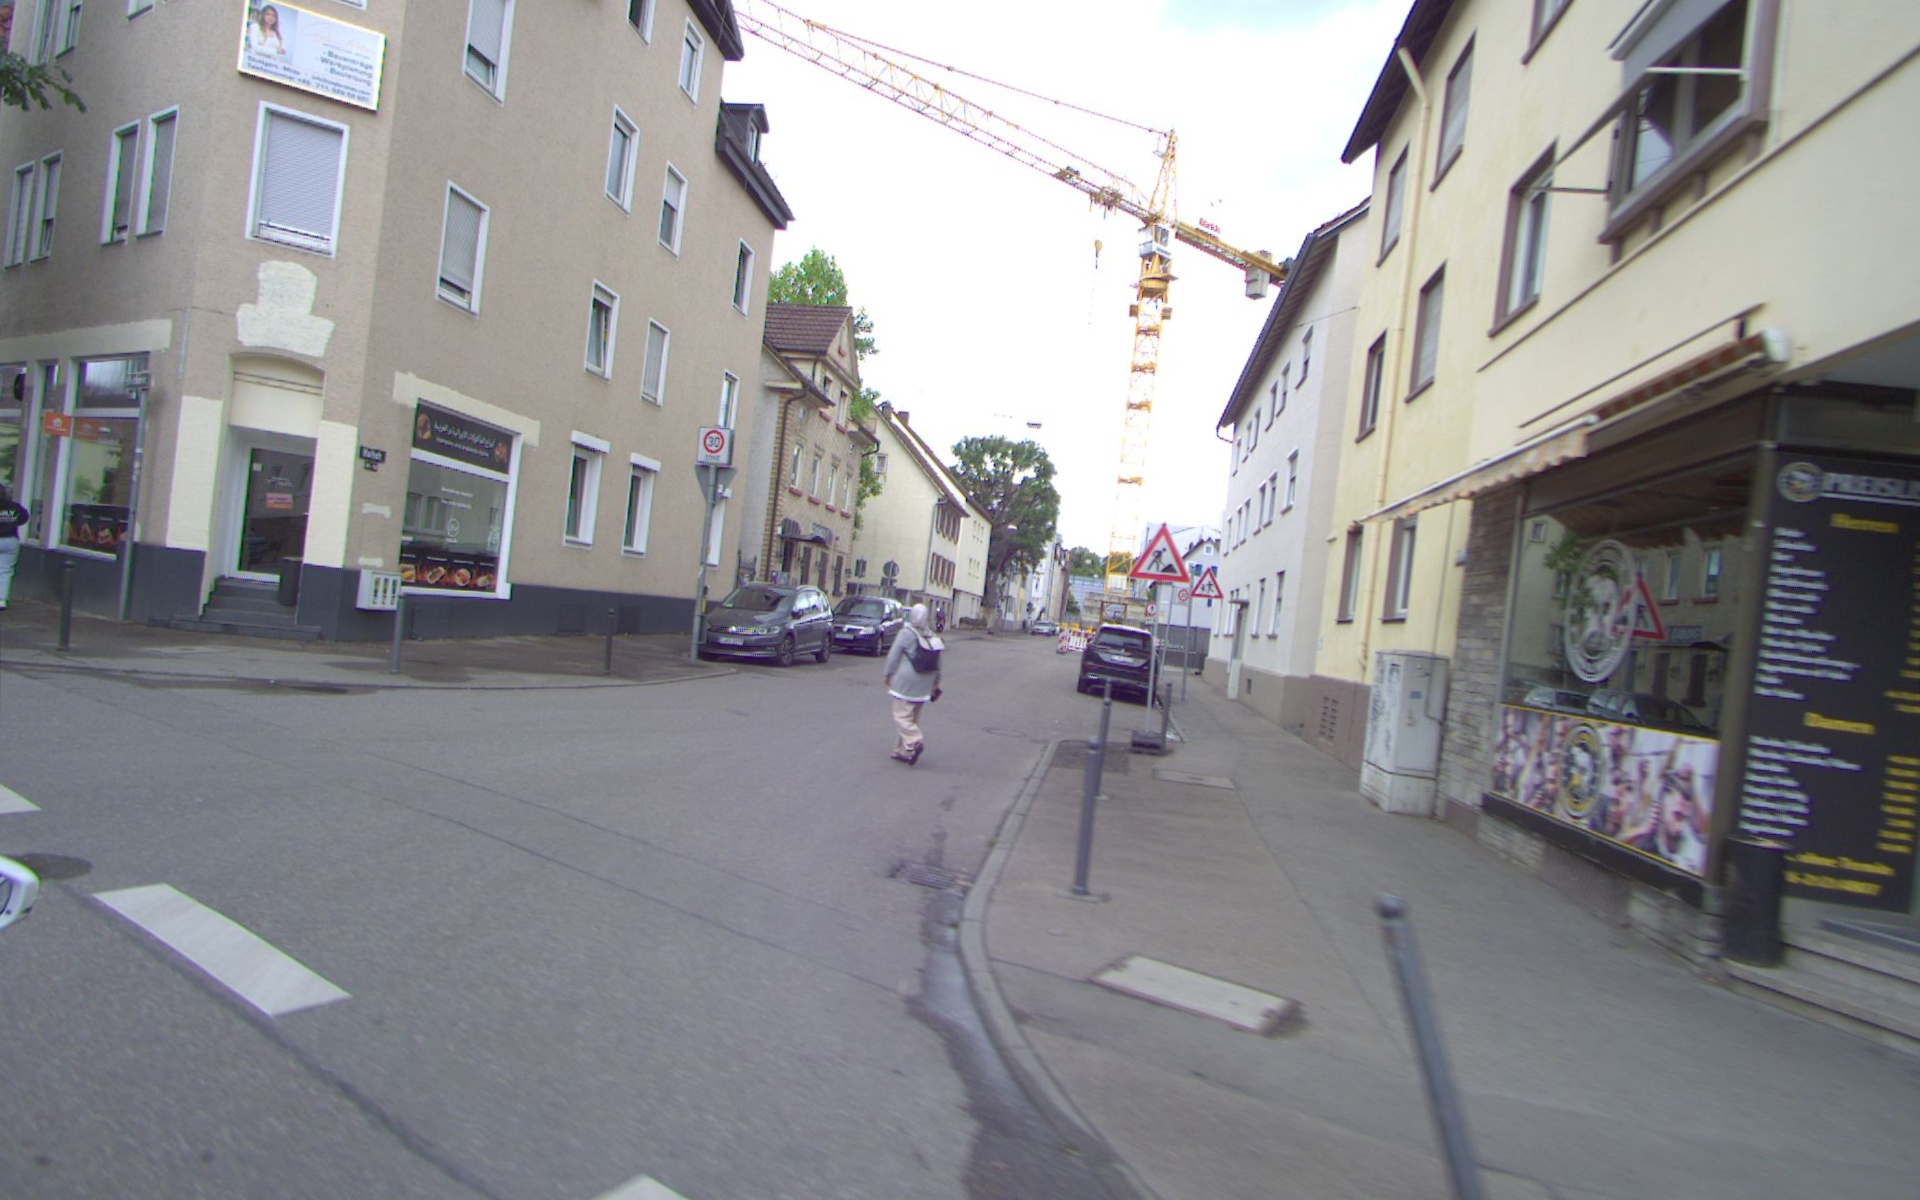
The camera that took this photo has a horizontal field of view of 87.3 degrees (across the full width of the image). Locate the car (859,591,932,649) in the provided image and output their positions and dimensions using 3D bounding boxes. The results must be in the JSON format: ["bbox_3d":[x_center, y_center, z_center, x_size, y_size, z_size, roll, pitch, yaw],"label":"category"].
[{"bbox_3d":[-2.126,0.735,34.223,1.653,1.640,4.239,6,-2,6],"label":"car"}]

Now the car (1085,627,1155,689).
[{"bbox_3d":[4.731,1.710,29.721,1.741,1.530,3.735,6,-2,10],"label":"car"}]

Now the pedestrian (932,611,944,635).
[{"bbox_3d":[-1.227,1.297,56.205,0.442,1.294,0.349,6,0,13],"label":"pedestrian"}]

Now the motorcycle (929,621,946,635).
[{"bbox_3d":[-1.253,1.577,56.324,0.484,0.735,1.664,6,-1,12],"label":"motorcycle"}]

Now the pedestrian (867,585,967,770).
[{"bbox_3d":[-0.437,0.745,9.910,0.786,1.685,0.675,6,0,-5],"label":"pedestrian"}]

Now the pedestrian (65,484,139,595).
[{"bbox_3d":[-12.951,-0.914,15.184,0.547,1.579,0.568,6,-1,31],"label":"pedestrian"}]

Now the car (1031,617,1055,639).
[{"bbox_3d":[8.146,2.758,98.484,1.962,1.859,4.006,6,-2,8],"label":"car"}]

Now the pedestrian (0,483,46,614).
[{"bbox_3d":[-12.847,-0.719,13.393,0.966,1.673,0.615,7,0,30],"label":"pedestrian"}]

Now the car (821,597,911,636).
[{"bbox_3d":[-4.564,0.797,49.206,3.924,1.408,1.699,6,-2,15],"label":"car"}]

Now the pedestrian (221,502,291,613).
[{"bbox_3d":[-10.656,-0.638,15.234,0.512,1.579,0.568,6,-1,31],"label":"pedestrian"}]

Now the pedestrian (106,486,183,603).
[{"bbox_3d":[-11.693,-0.788,14.426,0.512,1.579,0.568,6,-1,31],"label":"pedestrian"}]

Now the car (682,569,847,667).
[{"bbox_3d":[-3.931,0.464,21.061,1.850,1.640,4.239,6,-2,10],"label":"car"}]

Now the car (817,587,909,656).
[{"bbox_3d":[-2.654,0.683,28.601,1.631,1.640,4.239,6,-2,6],"label":"car"}]

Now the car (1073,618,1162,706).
[{"bbox_3d":[3.893,1.448,24.714,1.741,1.702,4.235,9,0,10],"label":"car"}]

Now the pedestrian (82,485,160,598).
[{"bbox_3d":[-12.408,-0.863,14.878,0.644,1.579,0.568,6,-1,31],"label":"pedestrian"}]
